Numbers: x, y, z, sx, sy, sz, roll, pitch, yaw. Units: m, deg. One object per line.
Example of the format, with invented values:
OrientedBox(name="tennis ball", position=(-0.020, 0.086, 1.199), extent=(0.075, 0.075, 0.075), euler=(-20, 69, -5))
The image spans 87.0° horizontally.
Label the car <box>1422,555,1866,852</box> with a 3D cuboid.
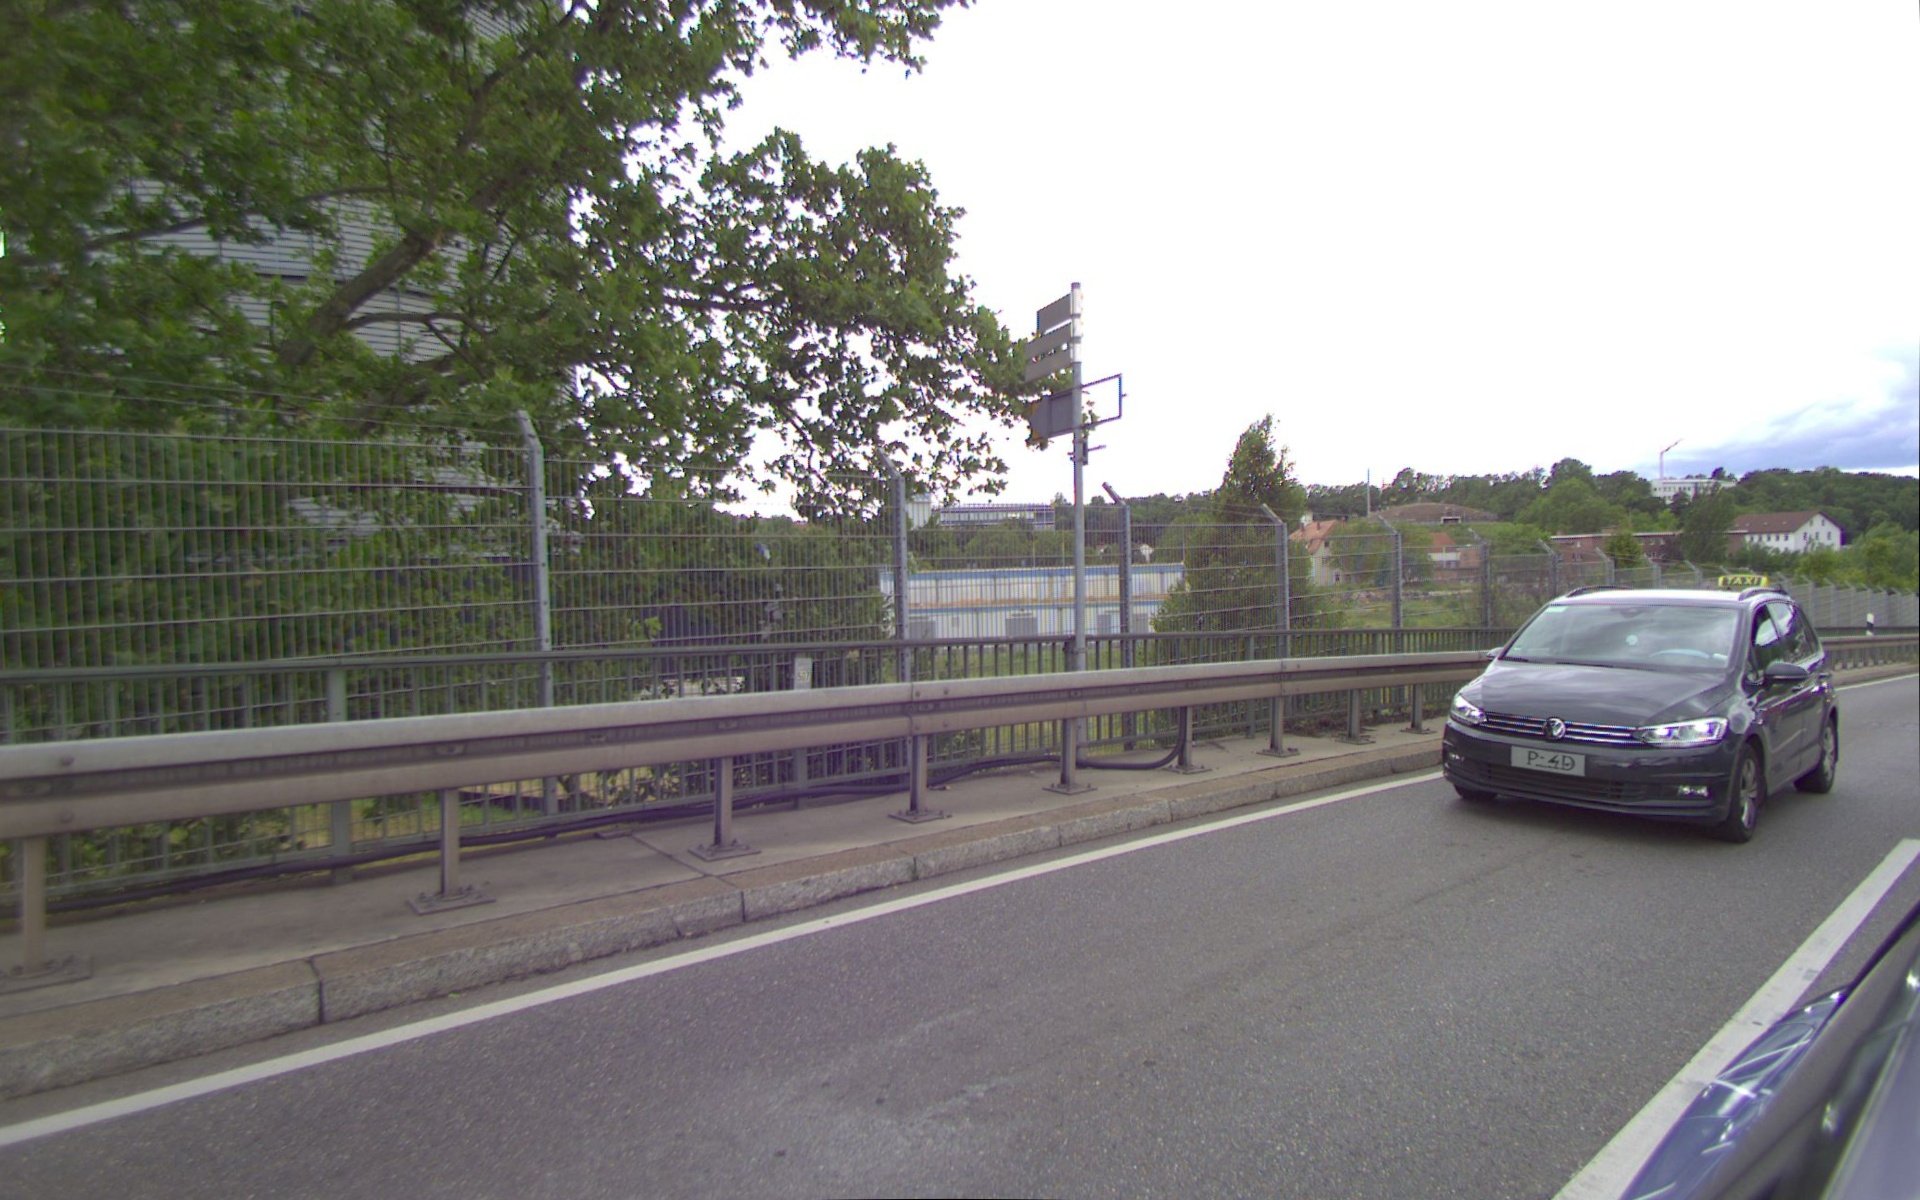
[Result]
OrientedBox(name="car", position=(5.367, 0.606, 7.731), extent=(4.077, 1.674, 1.799), euler=(1, -1, -40))
